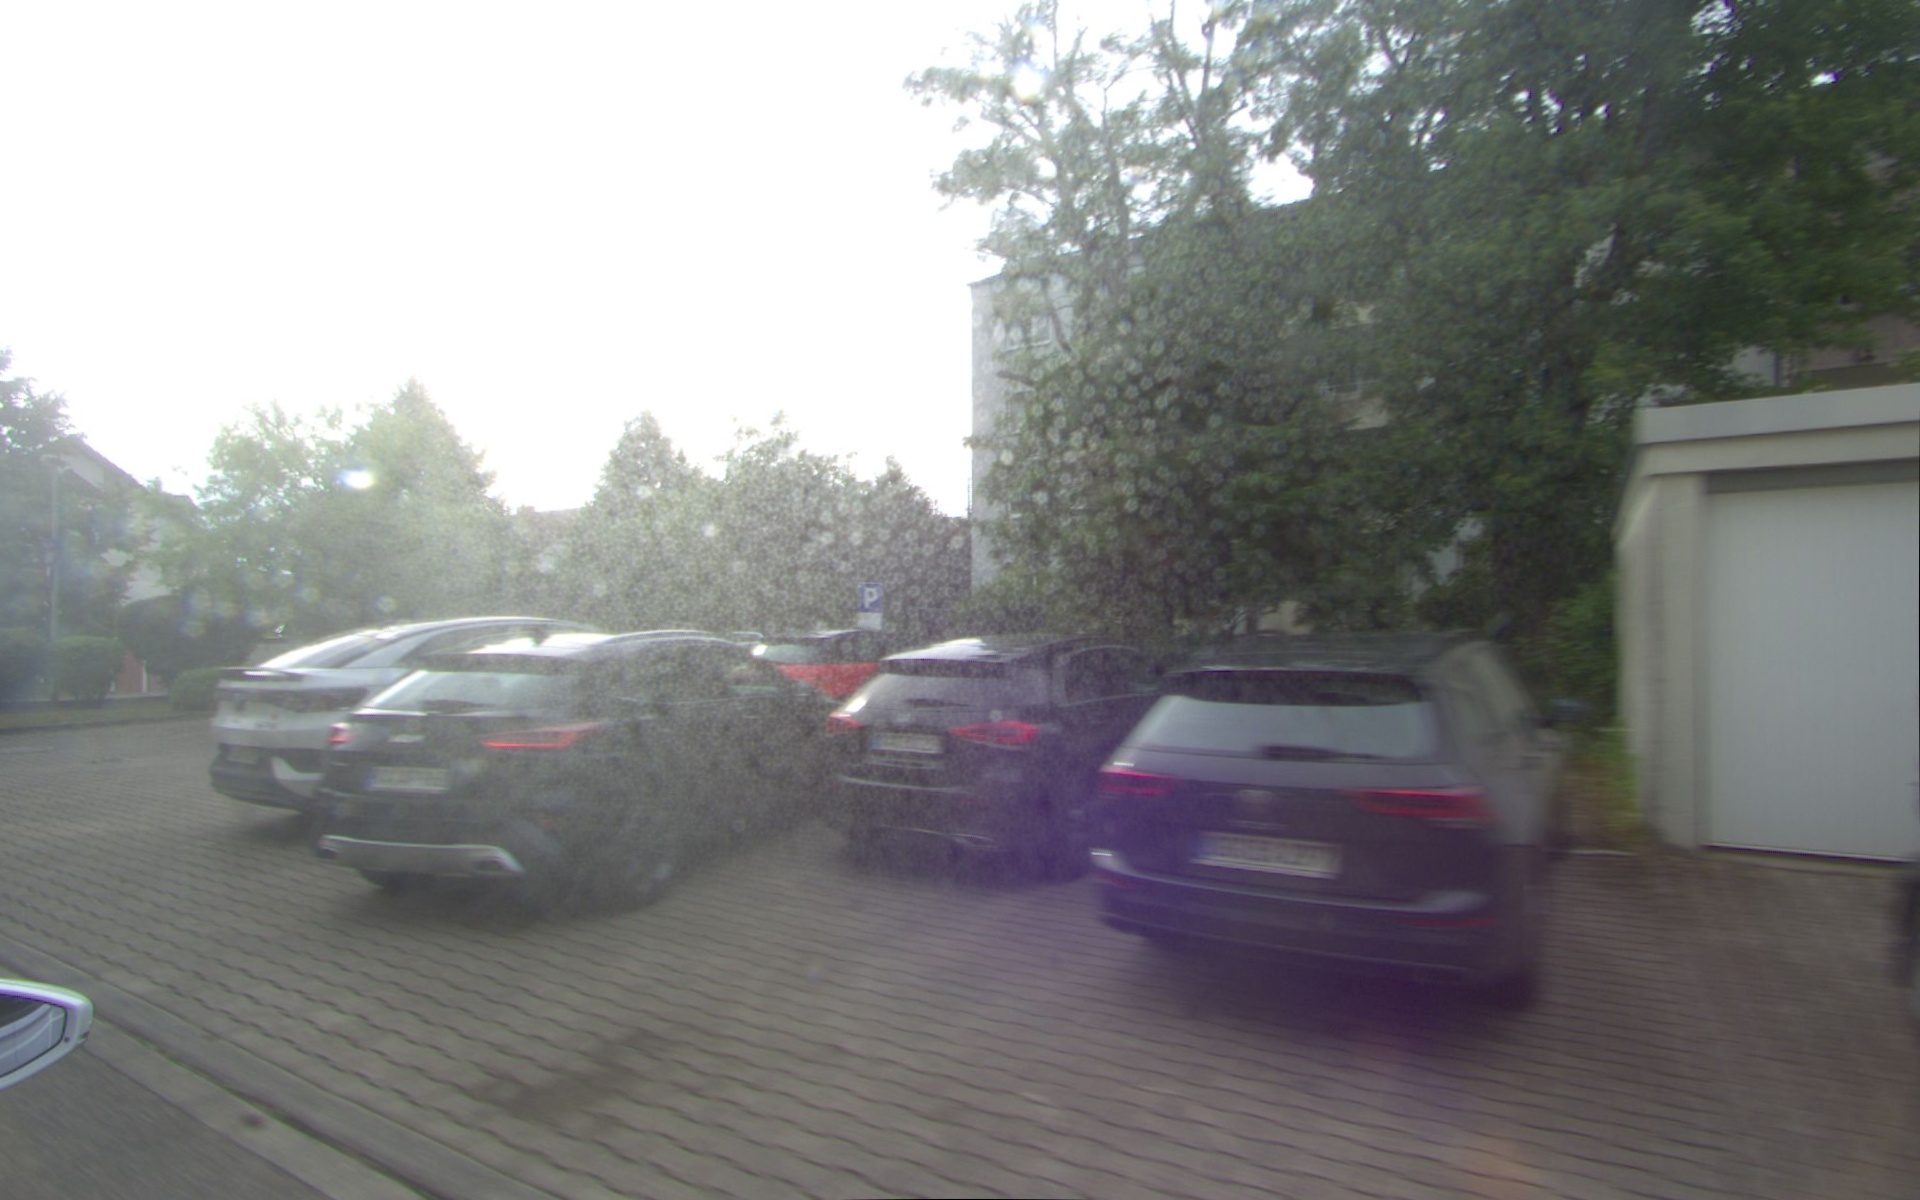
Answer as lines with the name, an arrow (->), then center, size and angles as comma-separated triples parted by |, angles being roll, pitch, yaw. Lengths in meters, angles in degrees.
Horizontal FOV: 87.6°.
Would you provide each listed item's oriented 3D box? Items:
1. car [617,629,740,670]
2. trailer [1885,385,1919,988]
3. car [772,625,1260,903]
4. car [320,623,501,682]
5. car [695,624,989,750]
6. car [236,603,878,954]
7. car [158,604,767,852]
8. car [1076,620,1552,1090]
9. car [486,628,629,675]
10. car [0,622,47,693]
car -> -10.774, 1.889, 38.616 | 1.760, 1.446, 4.449 | -3, -3, 37
trailer -> 3.946, 0.302, 2.232 | 1.915, 2.557, 4.602 | 0, -2, 32
car -> 0.689, 0.926, 7.529 | 1.889, 1.467, 3.986 | -1, -1, 34
car -> -16.509, 1.559, 30.297 | 1.740, 1.613, 4.527 | -3, -3, 34
car -> -1.408, 1.033, 13.399 | 1.943, 1.398, 3.891 | 0, -1, 32
car -> -2.204, 0.836, 6.784 | 1.964, 1.573, 3.993 | -1, 0, 17
car -> -4.038, 0.889, 8.951 | 1.960, 1.609, 4.527 | 0, -1, 33
car -> 2.200, 0.845, 5.320 | 1.589, 1.467, 4.121 | -1, -1, 31
car -> -13.793, 1.741, 34.518 | 1.741, 1.497, 4.277 | -4, -3, 37
car -> -22.455, 1.269, 21.358 | 1.725, 1.550, 4.169 | -3, -3, 36
